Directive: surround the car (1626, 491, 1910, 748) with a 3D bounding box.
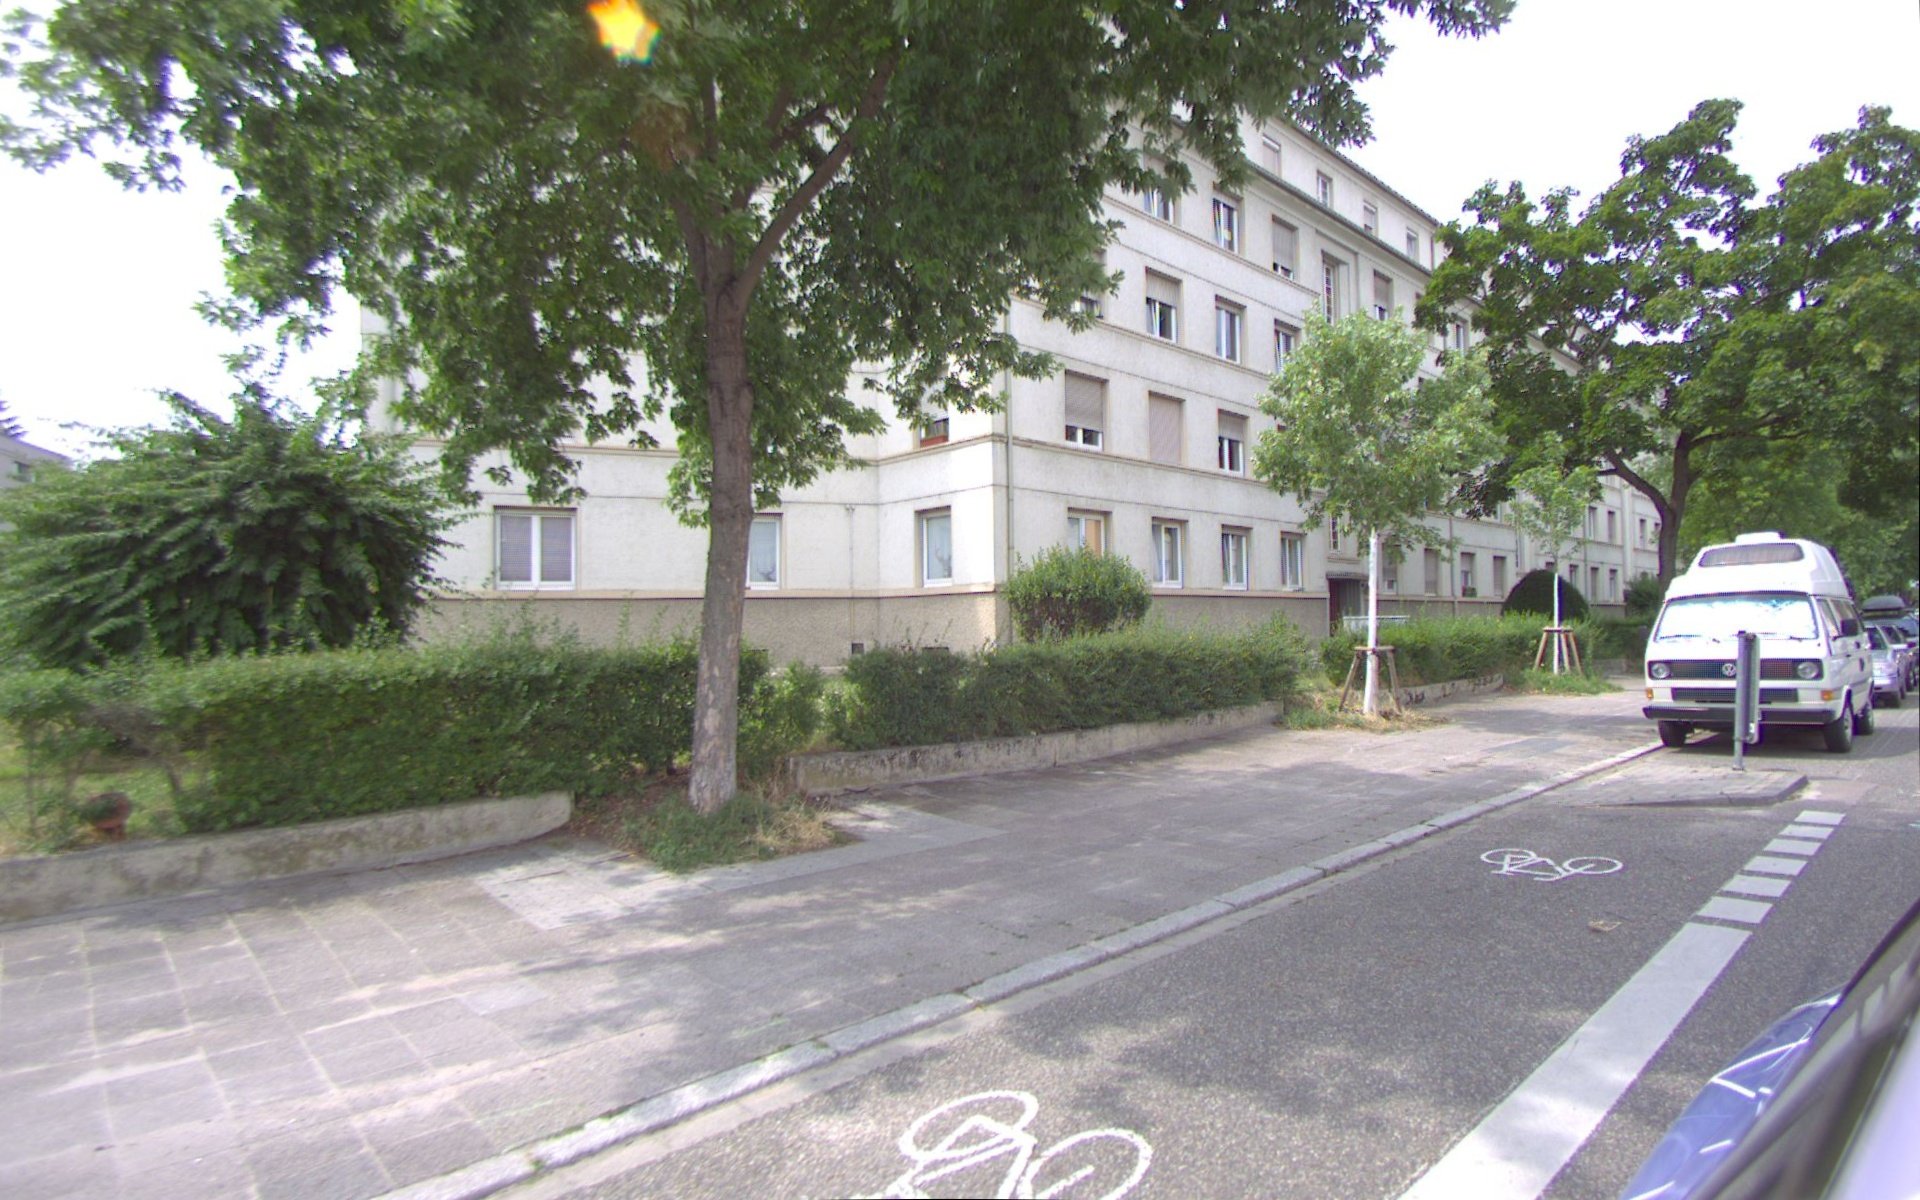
[{"bbox_3d":[10.266,0.242,12.702,4.822,2.636,1.896,-1,-4,-43],"label":"car"}]

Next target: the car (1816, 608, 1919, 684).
[{"bbox_3d":[19.812,0.948,21.792,3.723,1.473,1.672,0,-4,-45],"label":"car"}]

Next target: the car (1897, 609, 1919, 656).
[{"bbox_3d":[30.884,1.000,31.848,3.719,1.418,1.674,0,0,-41],"label":"car"}]

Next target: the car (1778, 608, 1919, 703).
[{"bbox_3d":[16.225,0.939,18.287,4.568,1.469,1.672,0,-3,-45],"label":"car"}]

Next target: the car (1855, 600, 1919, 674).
[{"bbox_3d":[23.585,0.860,25.179,4.201,1.697,1.672,0,-1,-45],"label":"car"}]
